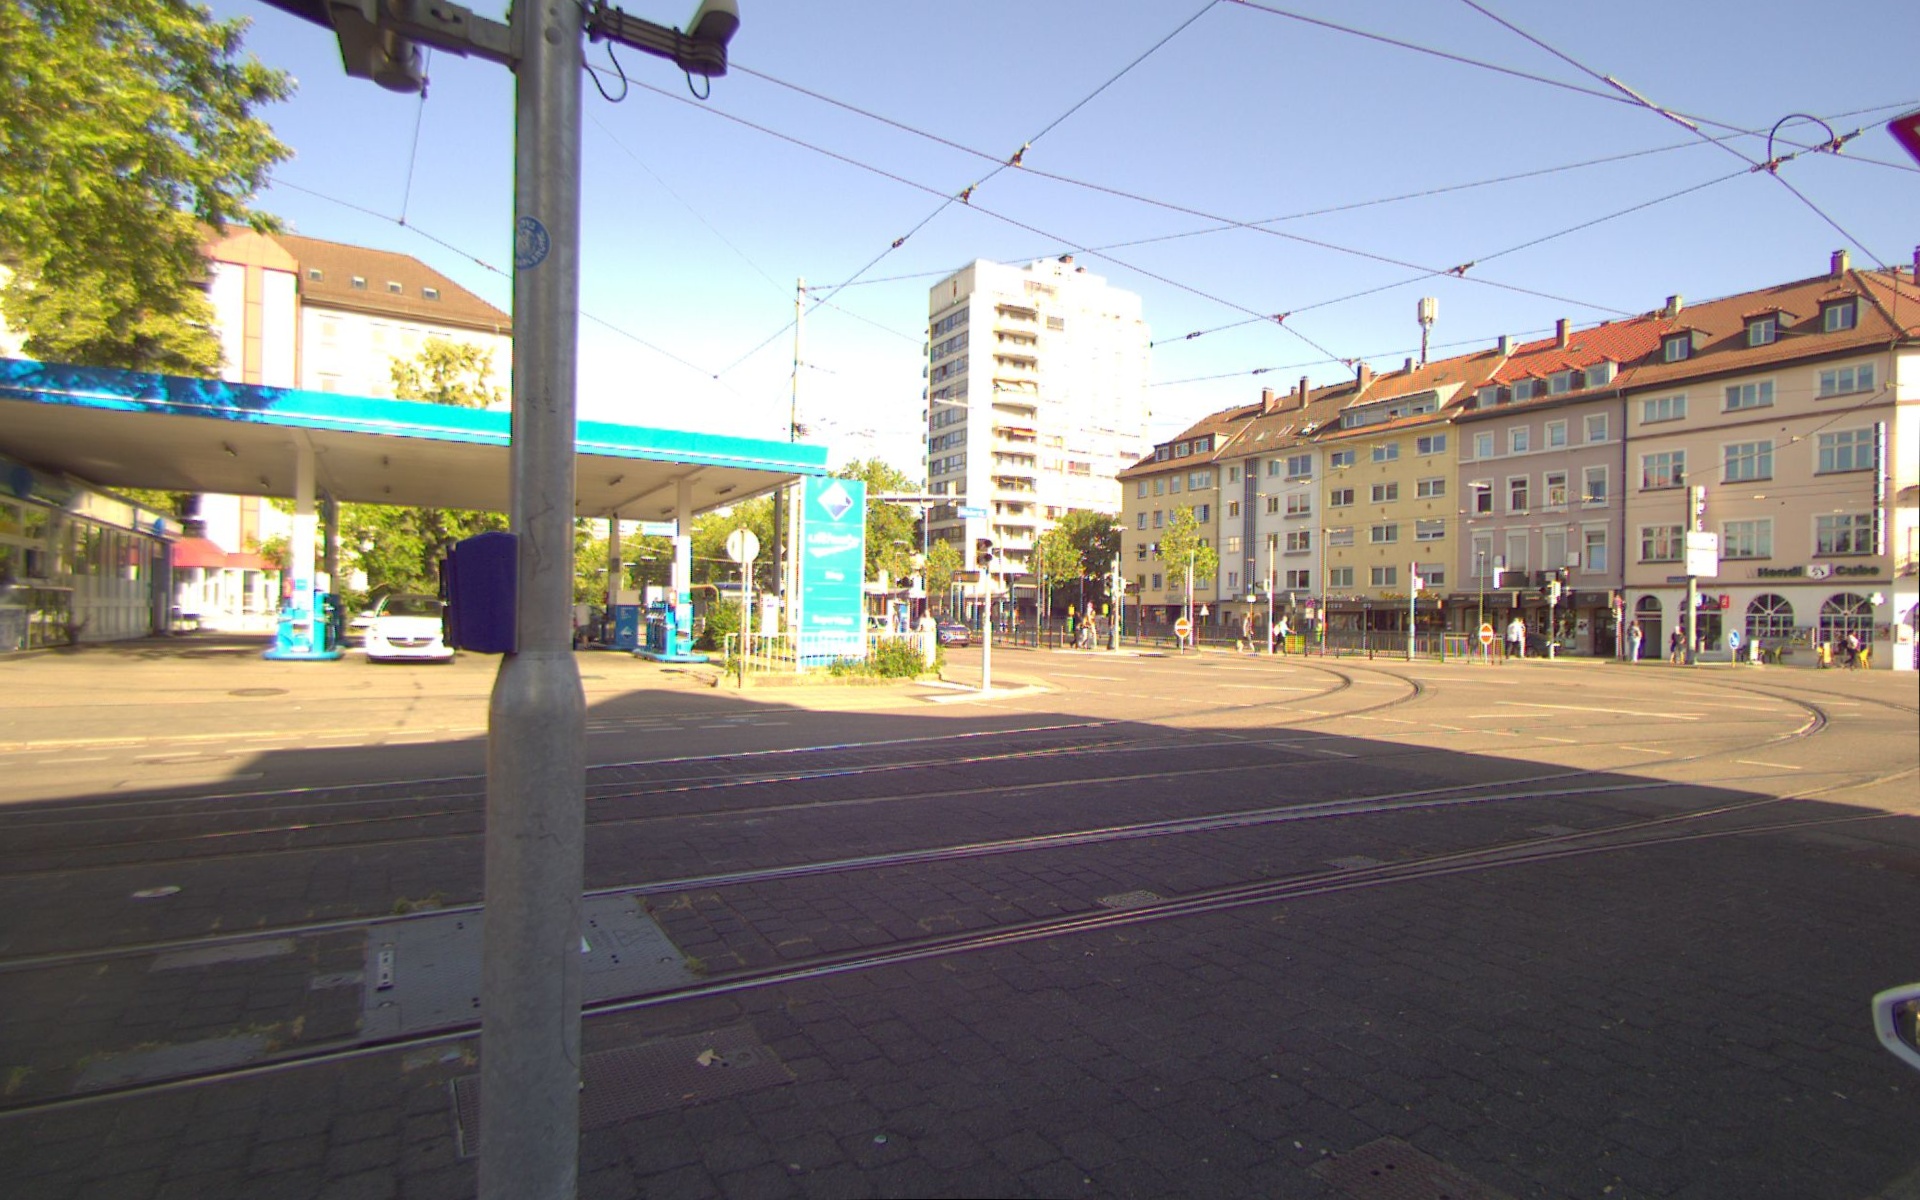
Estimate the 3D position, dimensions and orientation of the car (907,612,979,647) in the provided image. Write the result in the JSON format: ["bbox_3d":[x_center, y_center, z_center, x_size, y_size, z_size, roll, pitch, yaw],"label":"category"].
[{"bbox_3d":[-0.845,1.405,48.318,1.863,1.601,3.971,1,-1,-28],"label":"car"}]

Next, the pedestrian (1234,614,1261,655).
[{"bbox_3d":[11.804,1.411,41.312,0.932,1.677,0.828,1,-1,8],"label":"pedestrian"}]

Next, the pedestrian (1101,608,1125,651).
[{"bbox_3d":[6.473,1.251,42.395,0.776,1.794,0.678,0,-1,31],"label":"pedestrian"}]

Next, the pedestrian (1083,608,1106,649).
[{"bbox_3d":[5.923,1.243,44.260,0.776,1.794,0.678,0,-1,31],"label":"pedestrian"}]

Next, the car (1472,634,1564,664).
[{"bbox_3d":[30.435,2.633,54.908,1.977,1.472,3.966,1,-1,-31],"label":"car"}]

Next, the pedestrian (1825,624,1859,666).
[{"bbox_3d":[38.033,1.947,43.315,1.035,1.767,0.804,0,-1,45],"label":"pedestrian"}]

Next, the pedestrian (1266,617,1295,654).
[{"bbox_3d":[13.089,1.431,41.050,0.912,1.473,0.825,1,-1,3],"label":"pedestrian"}]

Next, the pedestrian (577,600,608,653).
[{"bbox_3d":[-11.744,0.828,32.081,0.802,1.647,1.156,1,-1,-26],"label":"pedestrian"}]

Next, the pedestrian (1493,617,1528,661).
[{"bbox_3d":[22.583,1.605,41.218,0.924,1.779,0.934,1,-1,-30],"label":"pedestrian"}]

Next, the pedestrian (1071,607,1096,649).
[{"bbox_3d":[5.349,1.222,43.480,0.776,1.794,0.873,0,-1,31],"label":"pedestrian"}]

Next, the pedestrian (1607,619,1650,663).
[{"bbox_3d":[26.654,1.612,40.070,1.091,1.707,1.075,1,-1,-30],"label":"pedestrian"}]

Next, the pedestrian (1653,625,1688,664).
[{"bbox_3d":[34.078,2.124,48.205,0.926,1.798,1.006,1,-1,-15],"label":"pedestrian"}]

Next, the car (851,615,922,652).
[{"bbox_3d":[-3.470,1.526,46.736,1.863,1.601,3.971,1,-1,-28],"label":"car"}]

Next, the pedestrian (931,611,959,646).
[{"bbox_3d":[-0.820,1.555,54.728,1.156,1.870,1.098,2,-1,-28],"label":"pedestrian"}]

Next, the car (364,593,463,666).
[{"bbox_3d":[-12.254,0.636,22.485,1.760,1.483,3.968,1,-1,-30],"label":"car"}]

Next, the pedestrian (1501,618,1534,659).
[{"bbox_3d":[24.478,1.677,44.102,0.924,1.779,0.934,1,-1,-30],"label":"pedestrian"}]

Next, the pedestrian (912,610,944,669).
[{"bbox_3d":[-0.928,1.126,28.803,0.703,1.641,1.103,1,-1,-14],"label":"pedestrian"}]

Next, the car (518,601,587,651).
[{"bbox_3d":[-13.443,0.837,33.014,1.725,1.431,4.061,5,-2,-26],"label":"car"}]
